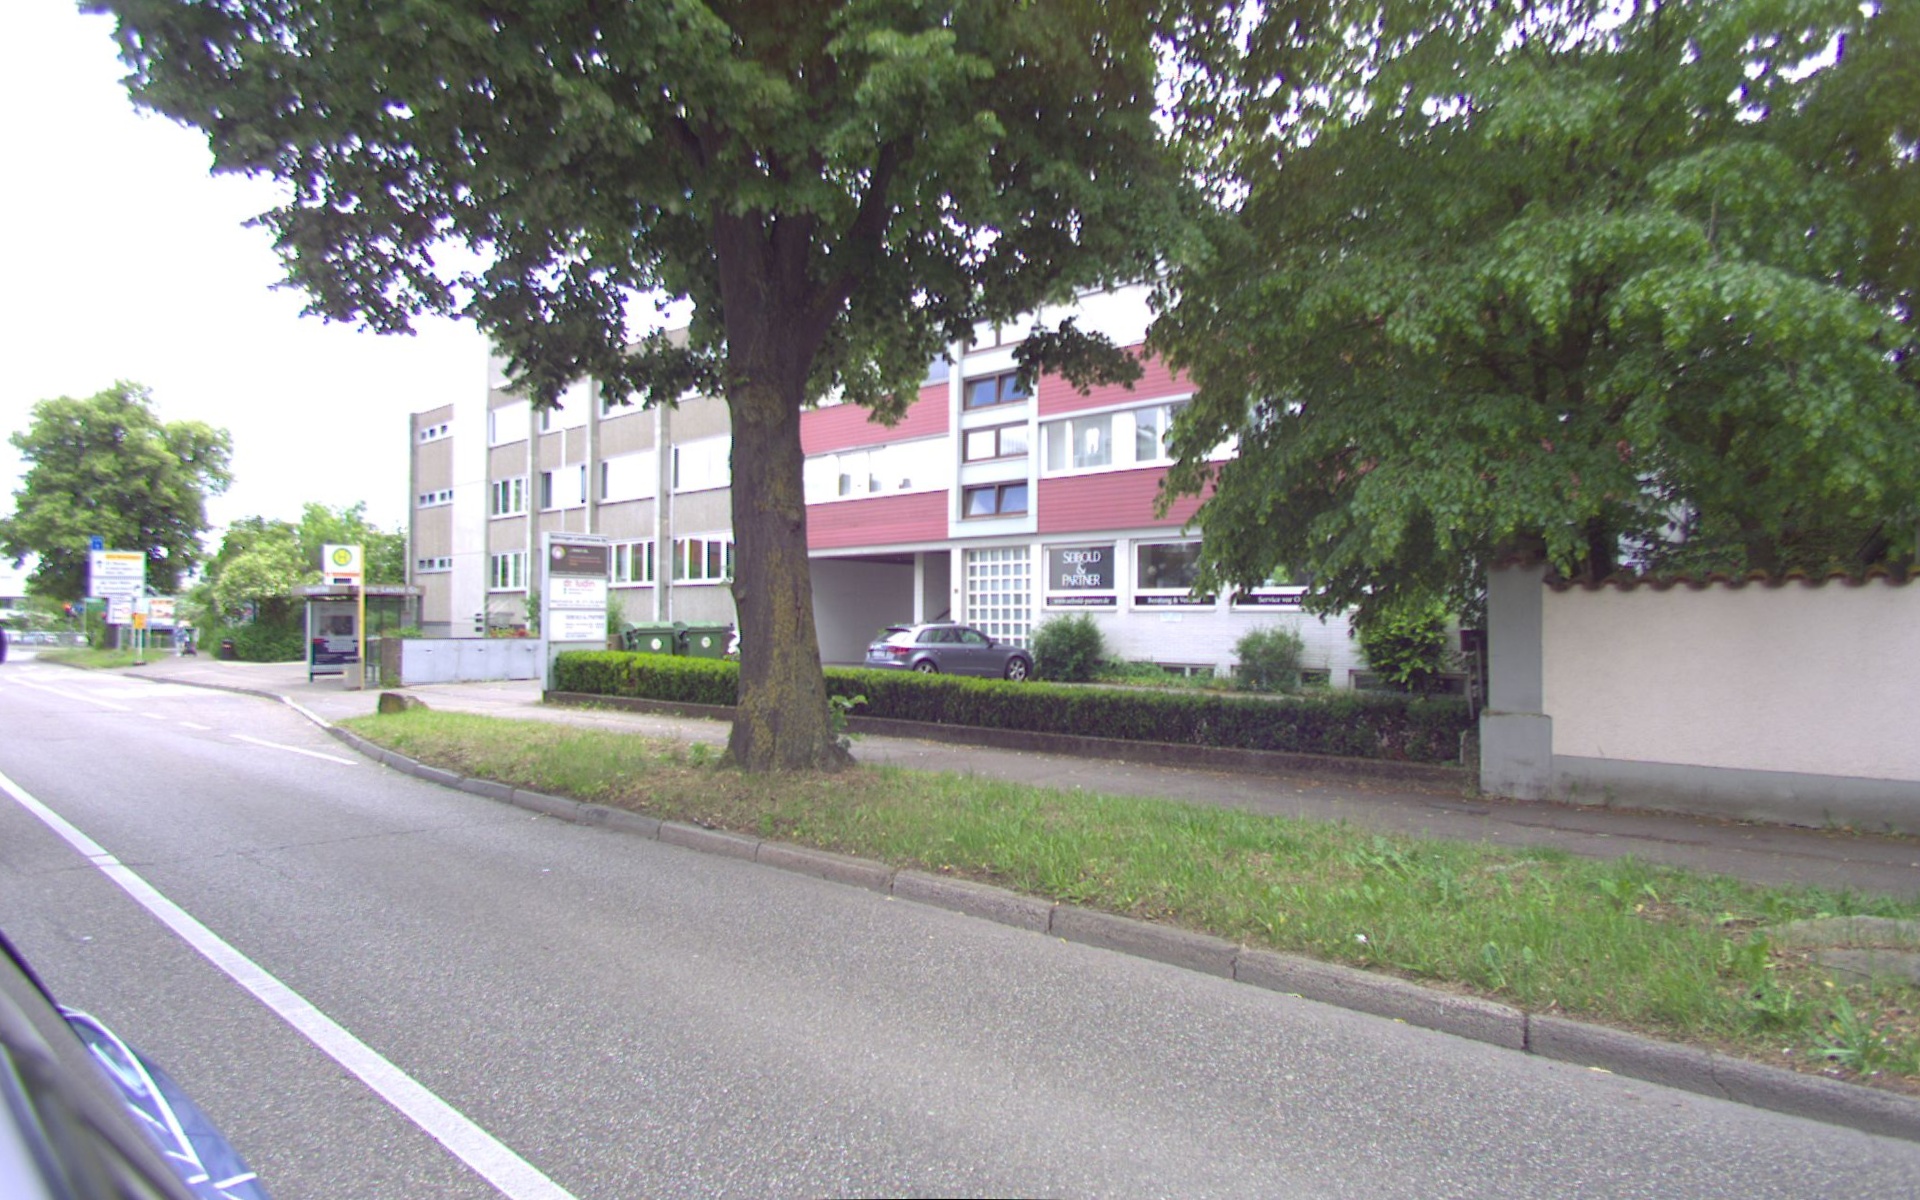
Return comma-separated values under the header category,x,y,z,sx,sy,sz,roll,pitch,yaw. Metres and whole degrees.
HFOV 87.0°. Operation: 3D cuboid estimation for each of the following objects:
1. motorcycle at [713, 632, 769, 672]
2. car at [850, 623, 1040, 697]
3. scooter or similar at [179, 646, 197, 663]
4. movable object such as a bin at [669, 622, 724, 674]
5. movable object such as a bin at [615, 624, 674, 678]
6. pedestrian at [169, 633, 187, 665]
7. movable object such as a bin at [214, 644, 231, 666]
category,x,y,z,sx,sy,sz,roll,pitch,yaw
motorcycle,-6.821,1.602,31.589,0.639,1.148,1.624,-1,-1,41
car,-0.311,1.312,23.379,4.082,1.490,1.817,0,0,-35
scooter or similar,-37.657,2.649,49.378,0.598,0.792,0.861,0,-1,-32
movable object such as a bin,-7.874,1.420,30.257,0.884,1.476,1.347,-1,-1,41
movable object such as a bin,-9.033,1.431,28.994,0.992,1.476,1.285,-1,-1,41
pedestrian,-38.594,2.403,49.960,0.662,1.570,0.521,0,-1,-32
movable object such as a bin,-32.639,2.427,44.792,0.558,0.934,0.609,0,-1,-33
